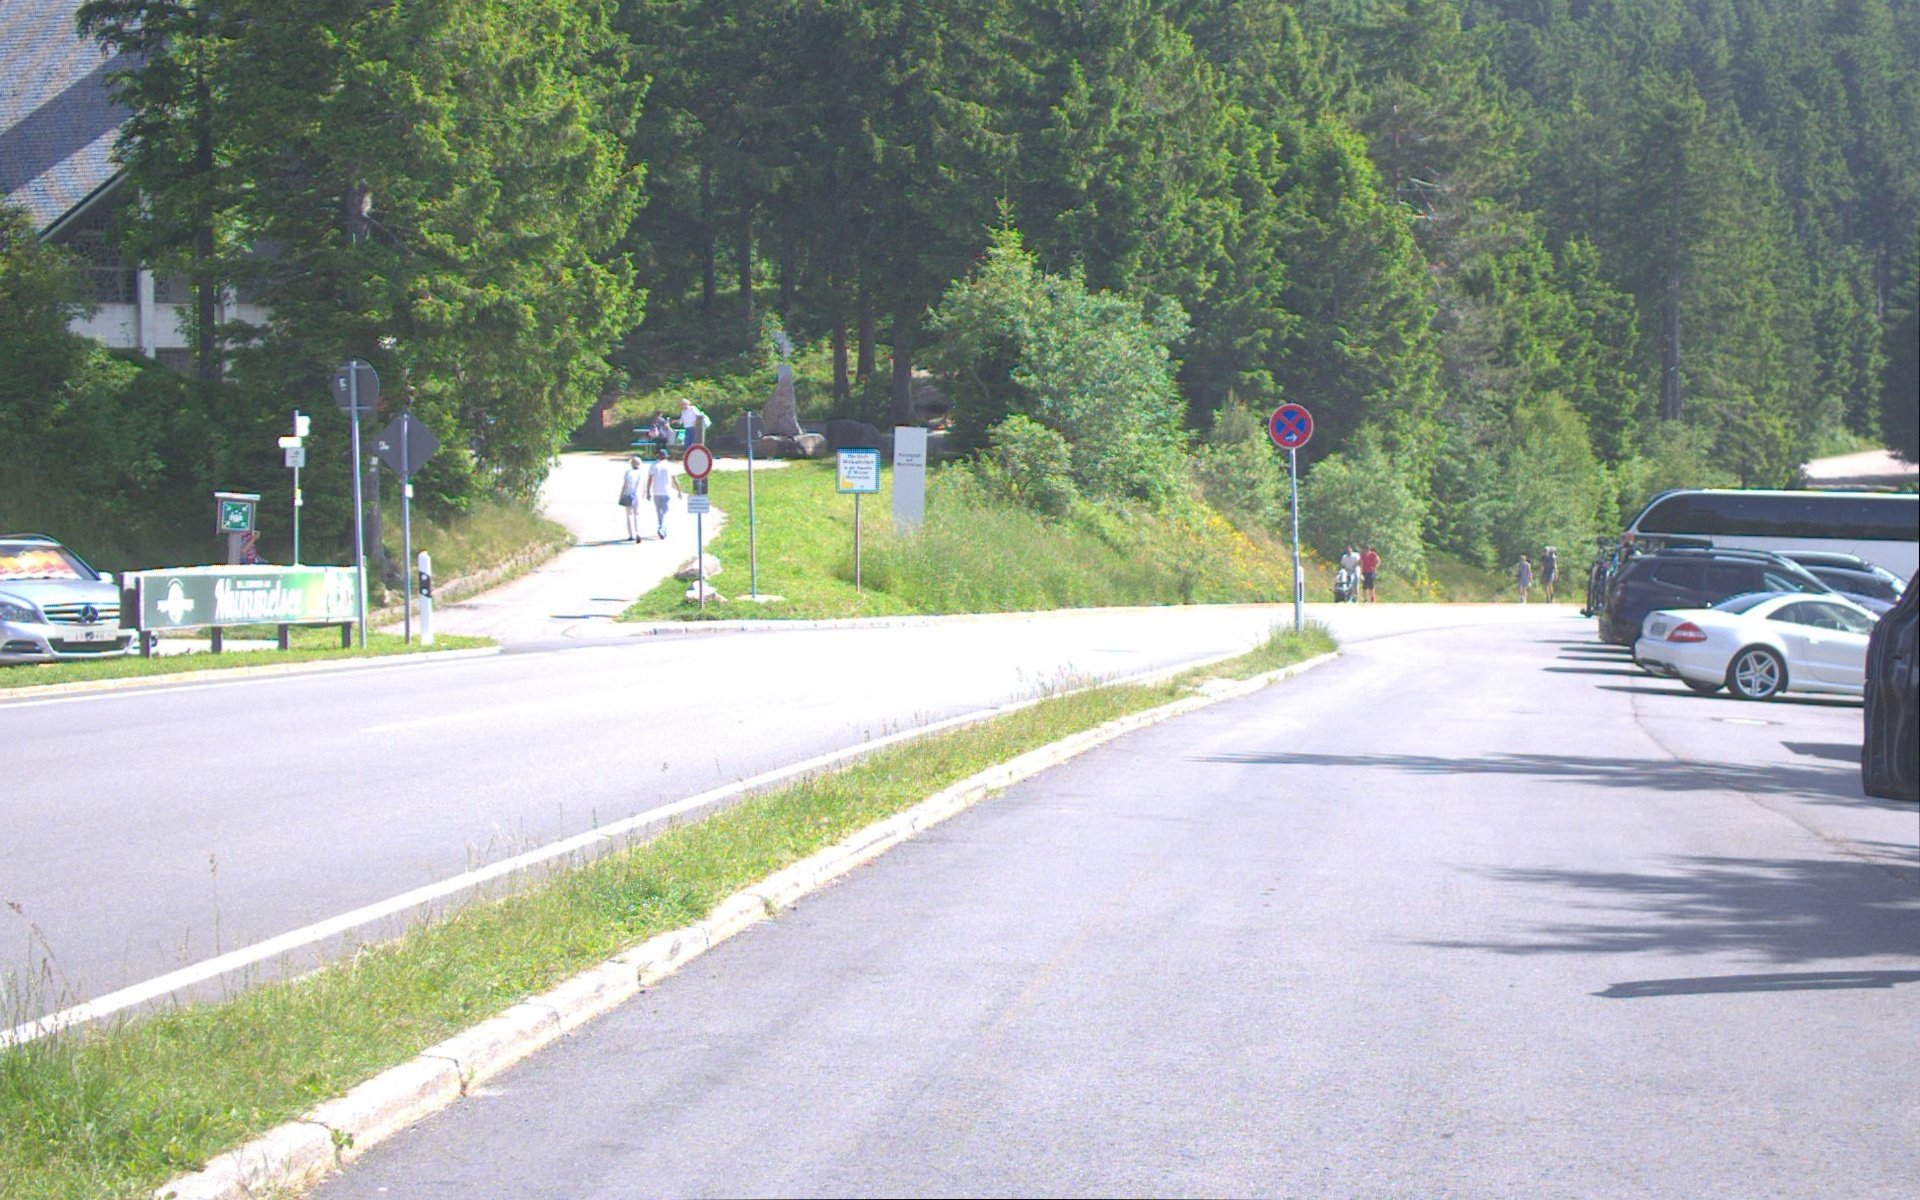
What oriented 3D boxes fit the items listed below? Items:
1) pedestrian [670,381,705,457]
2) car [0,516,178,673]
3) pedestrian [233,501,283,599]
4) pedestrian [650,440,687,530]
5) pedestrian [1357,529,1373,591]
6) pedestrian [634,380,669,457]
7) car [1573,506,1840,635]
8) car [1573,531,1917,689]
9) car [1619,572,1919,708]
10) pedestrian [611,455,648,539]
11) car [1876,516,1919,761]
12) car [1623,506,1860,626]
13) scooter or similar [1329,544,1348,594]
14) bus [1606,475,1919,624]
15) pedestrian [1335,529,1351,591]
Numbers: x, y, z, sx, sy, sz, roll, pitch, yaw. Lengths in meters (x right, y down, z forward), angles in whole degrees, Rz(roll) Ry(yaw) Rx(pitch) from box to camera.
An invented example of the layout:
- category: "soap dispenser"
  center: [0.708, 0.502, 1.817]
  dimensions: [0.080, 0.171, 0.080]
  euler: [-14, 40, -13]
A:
- category: "pedestrian"
  center: [-7.260, -4.814, 91.582]
  dimensions: [0.815, 2.006, 0.853]
  euler: [-1, 2, 1]
- category: "car"
  center: [-9.595, -0.085, 34.762]
  dimensions: [1.739, 1.436, 3.969]
  euler: [-3, 3, -38]
- category: "pedestrian"
  center: [-11.139, -0.799, 54.530]
  dimensions: [0.577, 1.527, 0.552]
  euler: [-1, 2, 9]
- category: "pedestrian"
  center: [-5.883, -2.314, 69.406]
  dimensions: [0.652, 1.793, 0.643]
  euler: [0, 1, 3]
- category: "pedestrian"
  center: [11.498, -1.139, 97.683]
  dimensions: [0.395, 1.741, 0.406]
  euler: [-1, 2, 11]
- category: "pedestrian"
  center: [-8.182, -4.818, 91.263]
  dimensions: [0.797, 2.006, 0.940]
  euler: [-1, 2, 1]
- category: "car"
  center: [11.980, -0.498, 55.413]
  dimensions: [3.989, 1.713, 1.867]
  euler: [4, 3, 9]
- category: "car"
  center: [10.307, 0.109, 45.363]
  dimensions: [3.987, 1.693, 2.000]
  euler: [4, 3, 2]
- category: "car"
  center: [10.231, 0.511, 40.571]
  dimensions: [4.452, 1.294, 1.583]
  euler: [4, 2, -7]
- category: "pedestrian"
  center: [-6.612, -2.054, 68.809]
  dimensions: [0.652, 1.661, 0.643]
  euler: [-1, 0, 3]
- category: "car"
  center: [8.859, 0.360, 28.356]
  dimensions: [1.906, 1.965, 4.818]
  euler: [5, 2, 9]
- category: "car"
  center: [14.076, -0.635, 62.112]
  dimensions: [3.989, 1.808, 1.939]
  euler: [4, 4, 11]
- category: "scooter or similar"
  center: [10.697, -0.893, 97.247]
  dimensions: [0.483, 1.375, 0.817]
  euler: [-1, 2, 9]
- category: "bus"
  center: [23.151, -1.302, 87.322]
  dimensions: [12.878, 3.565, 2.978]
  euler: [2, 4, 26]
- category: "pedestrian"
  center: [10.898, -1.132, 97.868]
  dimensions: [0.415, 1.741, 0.457]
  euler: [-1, 2, 9]
